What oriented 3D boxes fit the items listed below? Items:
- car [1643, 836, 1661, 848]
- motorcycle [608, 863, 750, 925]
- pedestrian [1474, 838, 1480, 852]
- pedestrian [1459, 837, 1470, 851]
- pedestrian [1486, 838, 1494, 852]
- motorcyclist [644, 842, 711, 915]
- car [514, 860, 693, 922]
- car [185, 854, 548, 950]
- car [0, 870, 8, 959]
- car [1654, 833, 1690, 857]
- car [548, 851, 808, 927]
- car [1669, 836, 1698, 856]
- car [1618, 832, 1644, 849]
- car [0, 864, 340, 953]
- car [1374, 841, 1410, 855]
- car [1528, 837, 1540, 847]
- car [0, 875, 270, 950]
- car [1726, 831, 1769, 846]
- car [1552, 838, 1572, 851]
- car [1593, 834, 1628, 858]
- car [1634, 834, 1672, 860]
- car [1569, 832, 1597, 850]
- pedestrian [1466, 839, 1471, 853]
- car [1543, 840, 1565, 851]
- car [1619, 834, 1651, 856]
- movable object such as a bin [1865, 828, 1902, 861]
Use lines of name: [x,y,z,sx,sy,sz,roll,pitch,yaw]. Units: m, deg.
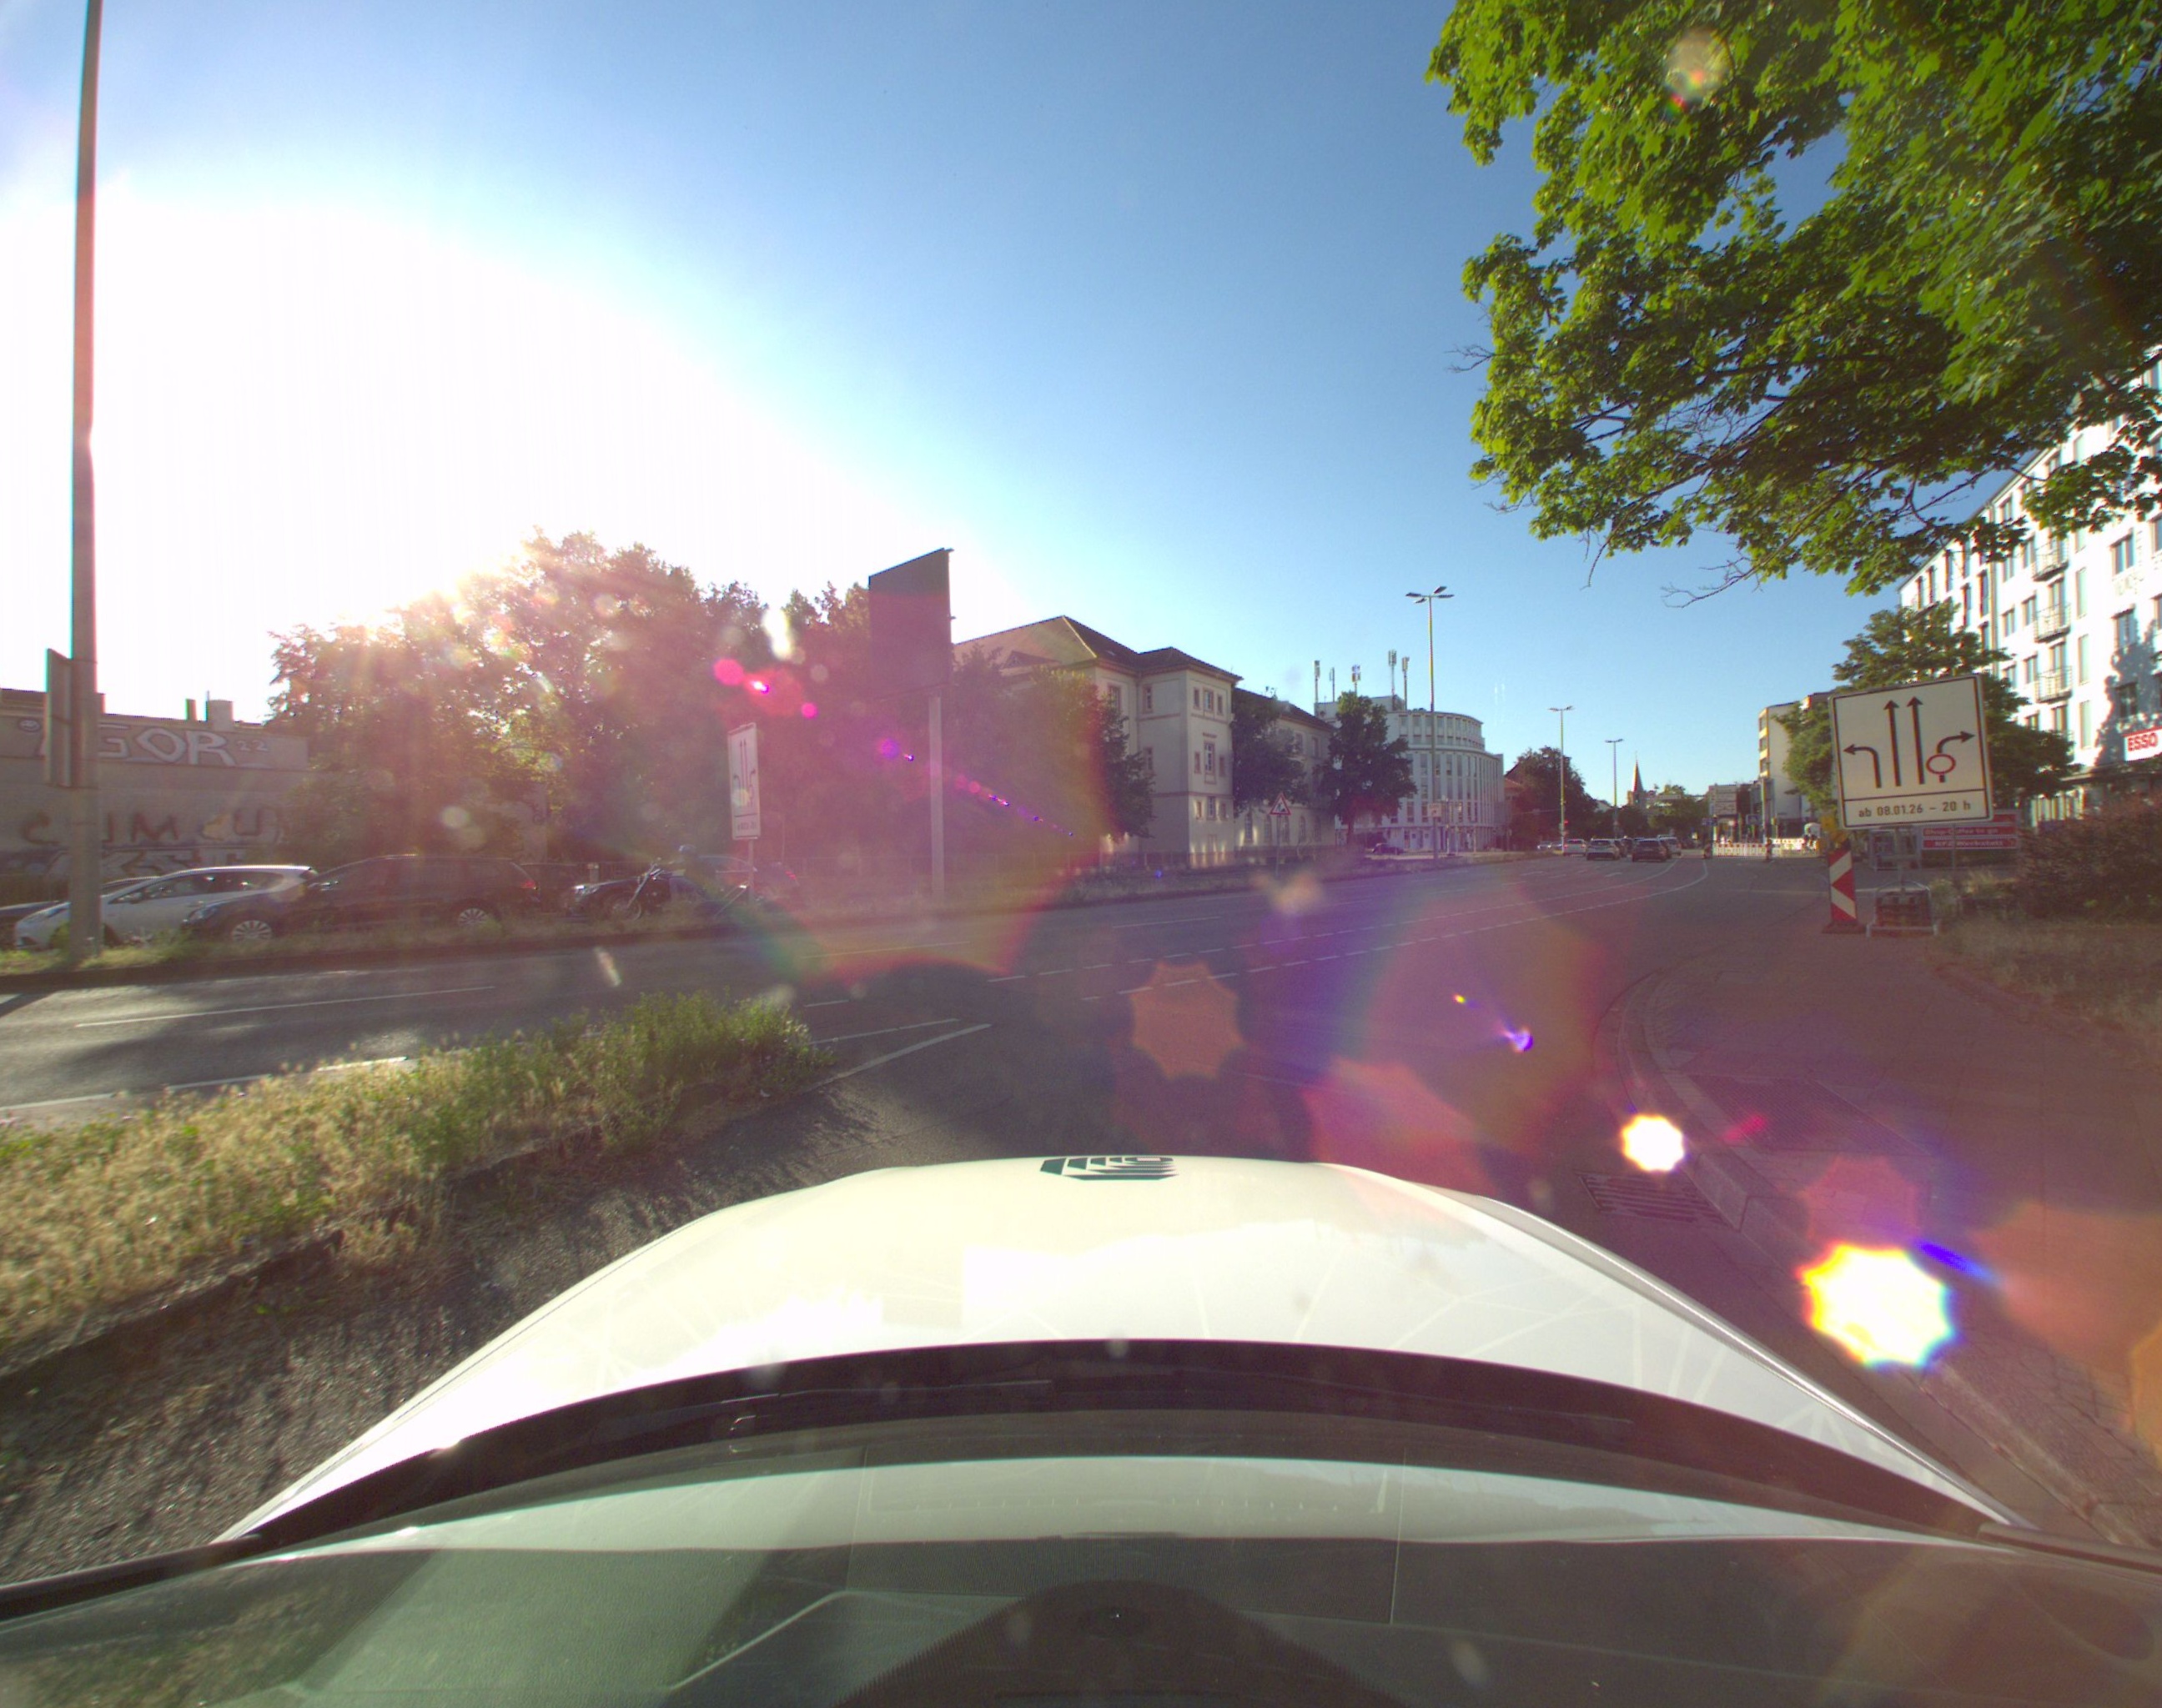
car: [70.673,-1.488,100.811,1.573,1.426,3.847,-1,0,38]
motorcycle: [-8.158,0.783,16.600,2.481,1.108,0.852,-2,0,-37]
pedestrian: [53.757,-1.197,110.586,0.751,1.842,0.823,-1,0,27]
pedestrian: [56.707,-1.522,120.455,1.041,2.013,1.082,-1,0,-42]
pedestrian: [54.980,-1.186,109.440,0.620,1.868,1.134,-1,0,41]
motorcyclist: [-8.211,0.483,16.558,1.066,1.398,0.845,-1,0,-36]
car: [-13.335,0.966,22.864,4.023,1.464,1.837,-2,1,-43]
car: [-11.727,0.708,13.831,4.396,1.296,1.705,-2,0,-36]
car: [-17.134,0.926,10.102,4.266,1.296,1.706,-2,0,-35]
car: [41.194,-0.598,56.767,1.738,1.490,3.746,-3,-3,40]
car: [-9.672,0.754,19.870,5.321,1.496,1.976,-2,0,-42]
car: [50.320,-0.639,67.962,1.711,1.579,3.746,-1,0,40]
car: [50.465,-1.249,74.689,1.665,1.504,3.747,-1,0,38]
car: [-16.453,0.914,15.056,3.913,1.319,1.704,-2,0,-38]
car: [38.339,-0.773,100.402,3.771,1.530,1.875,-3,-3,34]
car: [77.969,-2.078,140.147,1.823,1.572,4.025,-1,0,30]
car: [-20.175,1.185,17.346,3.913,1.296,1.704,-2,0,-38]
car: [89.337,-2.061,109.293,4.321,1.877,2.013,-1,0,36]
car: [71.474,-1.403,120.908,1.823,1.816,4.025,-3,-3,40]
car: [37.055,-0.563,56.970,1.731,1.564,4.076,-1,0,38]
car: [36.445,-0.476,51.863,1.731,1.564,4.076,-1,0,38]
car: [43.686,-1.145,70.818,1.668,1.456,4.026,0,1,37]
pedestrian: [52.872,-1.121,111.131,0.654,1.859,0.783,-1,0,25]
car: [66.435,-1.150,114.390,1.974,1.413,4.472,-2,0,38]
car: [42.653,-0.691,62.676,1.731,1.564,4.076,-1,0,38]
movable object such as a bin: [38.150,-0.436,38.745,1.082,1.508,1.262,-1,-2,37]
